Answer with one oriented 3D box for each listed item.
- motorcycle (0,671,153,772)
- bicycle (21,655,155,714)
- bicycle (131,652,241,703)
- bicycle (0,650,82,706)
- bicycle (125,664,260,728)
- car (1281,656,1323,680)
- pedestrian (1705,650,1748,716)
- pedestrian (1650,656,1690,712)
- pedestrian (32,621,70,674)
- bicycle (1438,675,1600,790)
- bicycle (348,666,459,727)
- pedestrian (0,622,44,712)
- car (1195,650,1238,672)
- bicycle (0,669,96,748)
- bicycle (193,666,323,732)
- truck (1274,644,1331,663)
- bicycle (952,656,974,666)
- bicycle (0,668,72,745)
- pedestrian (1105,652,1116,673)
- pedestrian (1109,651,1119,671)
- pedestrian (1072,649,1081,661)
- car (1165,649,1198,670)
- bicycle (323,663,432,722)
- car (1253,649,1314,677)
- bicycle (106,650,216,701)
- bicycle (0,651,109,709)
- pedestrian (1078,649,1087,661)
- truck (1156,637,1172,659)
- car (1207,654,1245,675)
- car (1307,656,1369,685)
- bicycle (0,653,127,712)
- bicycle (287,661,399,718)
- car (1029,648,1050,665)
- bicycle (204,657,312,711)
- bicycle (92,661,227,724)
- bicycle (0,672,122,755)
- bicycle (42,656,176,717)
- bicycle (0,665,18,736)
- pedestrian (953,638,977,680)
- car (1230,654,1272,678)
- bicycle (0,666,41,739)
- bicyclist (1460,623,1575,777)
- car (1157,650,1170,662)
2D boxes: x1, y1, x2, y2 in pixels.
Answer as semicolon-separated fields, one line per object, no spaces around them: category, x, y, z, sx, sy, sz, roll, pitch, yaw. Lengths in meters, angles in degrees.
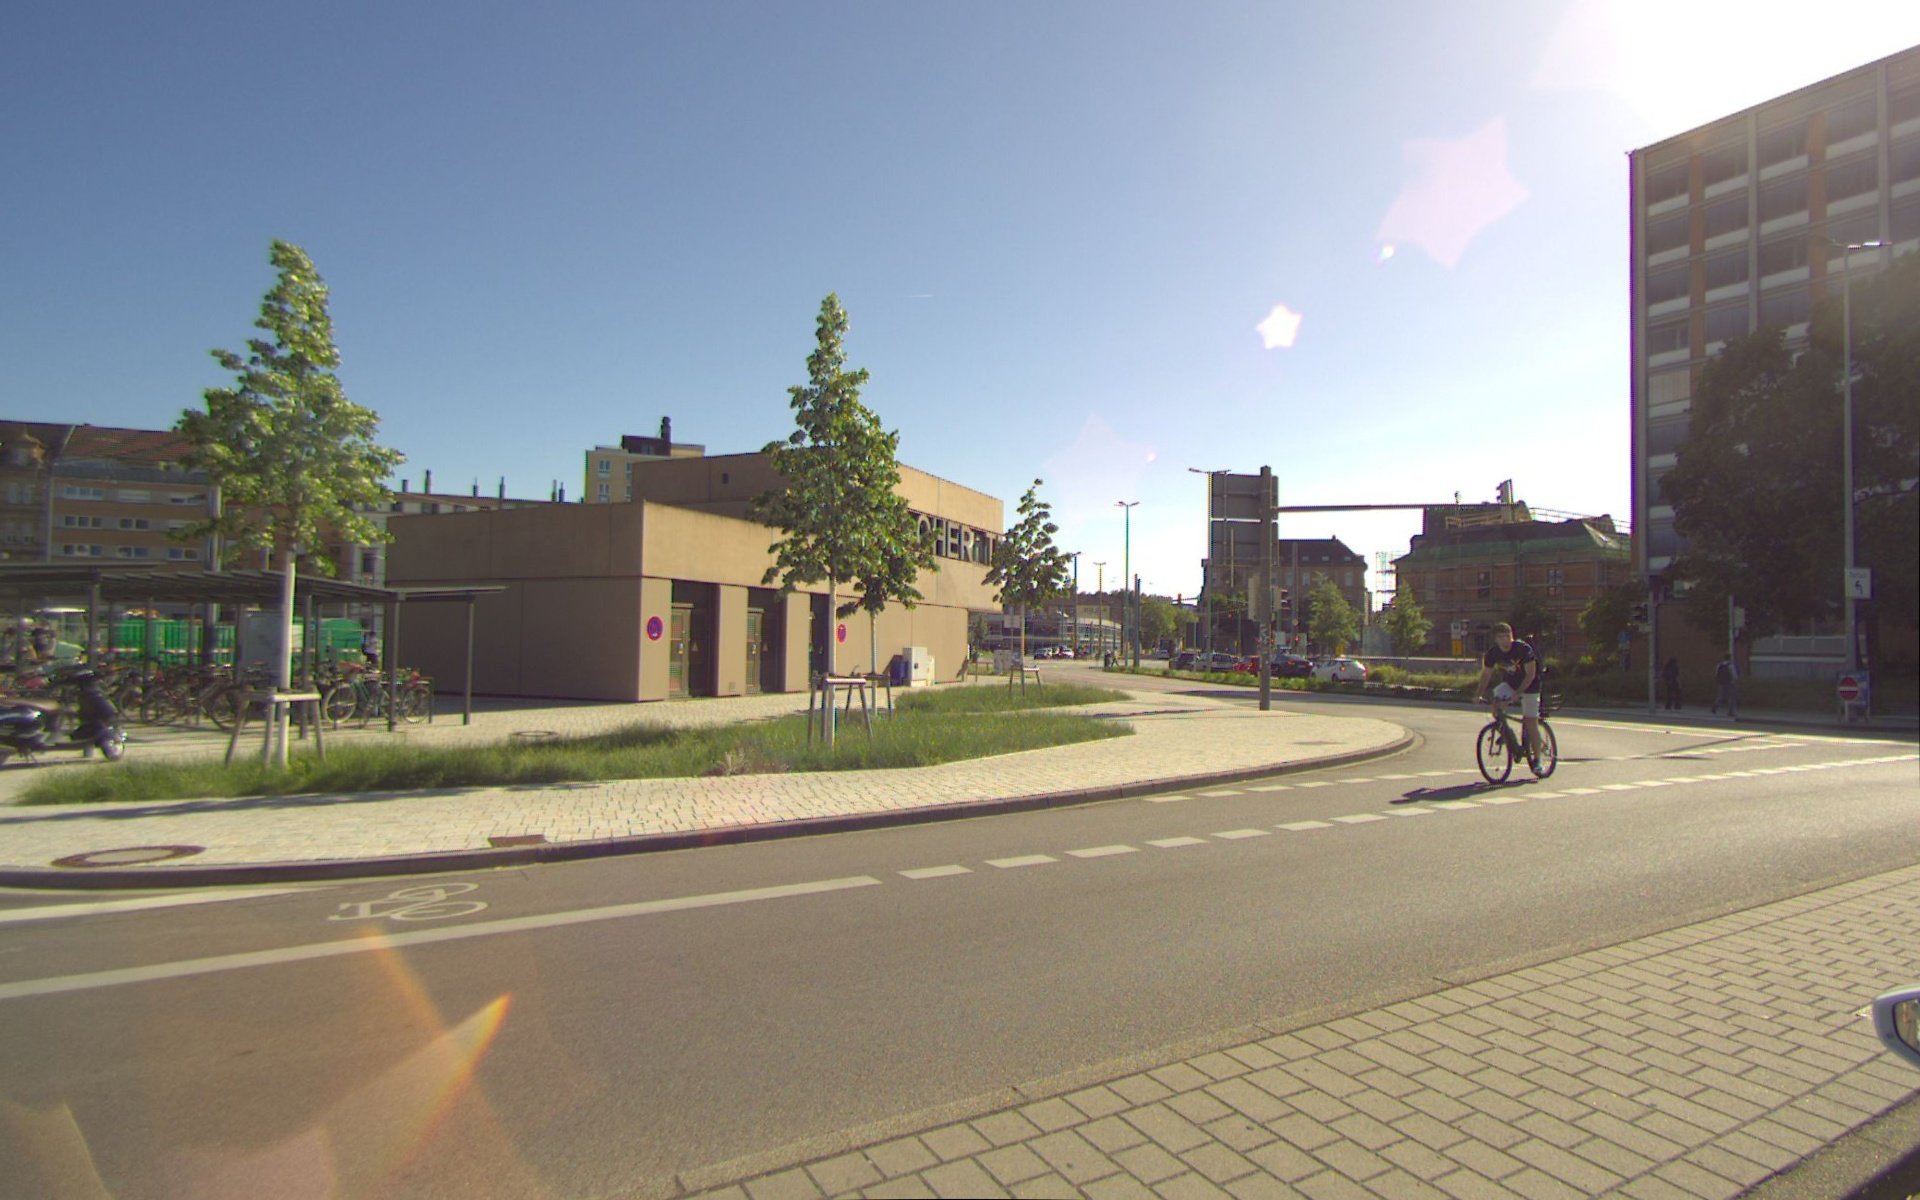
motorcycle;-11.212;1.465;12.307;0.584;1.134;1.983;0;-2;26
bicycle;-16.168;1.550;18.679;0.557;1.051;1.788;-1;-4;22
bicycle;-16.474;1.636;21.431;0.557;1.051;1.788;-1;-4;22
bicycle;-18.148;1.487;19.331;0.557;1.051;1.788;-1;-4;22
bicycle;-13.230;1.632;17.384;0.557;1.051;1.788;-1;-4;22
car;25.591;5.090;75.260;1.846;1.638;3.626;3;-3;0
pedestrian;22.158;2.400;29.044;1.086;1.856;0.748;4;-3;-38
pedestrian;21.504;2.536;30.417;0.670;1.633;0.718;2;-3;-13
pedestrian;-26.394;1.377;29.161;0.550;1.538;0.588;0;-2;25
bicycle;6.310;1.446;11.326;1.848;1.180;0.742;2;-4;-30
bicycle;-10.133;1.735;18.370;0.557;1.051;1.788;-1;-4;22
pedestrian;-18.677;1.314;19.866;0.610;1.746;0.677;2;-2;-26
car;17.364;4.124;68.152;1.697;1.461;3.798;1;-3;-3
bicycle;-13.069;1.476;13.754;0.557;1.051;1.788;-1;-4;22
bicycle;-11.961;1.668;17.188;0.557;1.051;1.788;-1;-4;22
truck;43.951;6.886;129.069;6.762;2.343;2.217;2;-3;-11
bicycle;0.223;5.008;83.094;1.709;0.754;0.641;2;0;-17
bicycle;-13.617;1.482;13.977;0.557;1.051;1.788;-1;-4;22
pedestrian;12.207;5.097;81.556;0.566;1.632;0.565;2;0;-30
pedestrian;12.945;5.129;84.181;0.643;1.632;0.676;2;0;-4
pedestrian;15.011;7.088;129.510;0.855;1.427;0.688;2;0;-32
car;16.473;4.421;74.906;1.696;1.461;3.912;3;-3;2
bicycle;-10.922;1.719;18.898;0.557;1.051;1.788;-1;-4;22
car;20.137;3.921;62.721;1.953;1.645;4.374;1;-3;-7
bicycle;-17.151;1.613;21.616;0.557;1.051;1.788;-1;-4;22
bicycle;-17.468;1.514;19.160;0.557;1.051;1.788;-1;-4;22
pedestrian;15.828;7.137;130.027;0.855;1.427;0.688;2;0;-32
truck;36.900;8.615;181.947;2.549;3.723;5.229;2;0;10
car;19.965;4.837;75.467;1.697;1.461;3.799;3;-3;-2
car;20.989;3.895;55.904;1.665;1.454;3.733;1;-3;-7
bicycle;-16.907;1.539;18.922;0.557;1.051;1.788;-1;-4;22
bicycle;-11.932;1.718;19.483;0.558;1.051;1.785;-2;-4;30
car;10.837;7.641;136.433;1.960;2.040;4.002;2;0;16
bicycle;-14.380;1.707;20.632;0.557;1.051;1.788;-1;-4;22
bicycle;-14.125;1.603;17.787;0.557;1.051;1.788;-1;-4;22
bicycle;-12.470;1.505;13.491;0.557;1.051;1.788;-1;-4;22
bicycle;-15.526;1.556;18.383;0.557;1.051;1.788;-1;-4;22
bicycle;-14.877;1.464;14.475;0.557;1.051;1.788;-1;-4;22
pedestrian;0.211;2.517;42.607;0.778;1.745;0.594;-2;-6;38
car;19.941;4.514;69.018;1.644;1.461;3.722;3;-3;-2
bicycle;-14.300;1.468;14.233;0.557;1.051;1.788;-1;-4;22
bicyclist;6.278;1.098;11.322;0.966;1.642;0.716;2;-3;-30
car;30.965;8.493;152.749;1.750;1.565;3.642;2;-1;13
